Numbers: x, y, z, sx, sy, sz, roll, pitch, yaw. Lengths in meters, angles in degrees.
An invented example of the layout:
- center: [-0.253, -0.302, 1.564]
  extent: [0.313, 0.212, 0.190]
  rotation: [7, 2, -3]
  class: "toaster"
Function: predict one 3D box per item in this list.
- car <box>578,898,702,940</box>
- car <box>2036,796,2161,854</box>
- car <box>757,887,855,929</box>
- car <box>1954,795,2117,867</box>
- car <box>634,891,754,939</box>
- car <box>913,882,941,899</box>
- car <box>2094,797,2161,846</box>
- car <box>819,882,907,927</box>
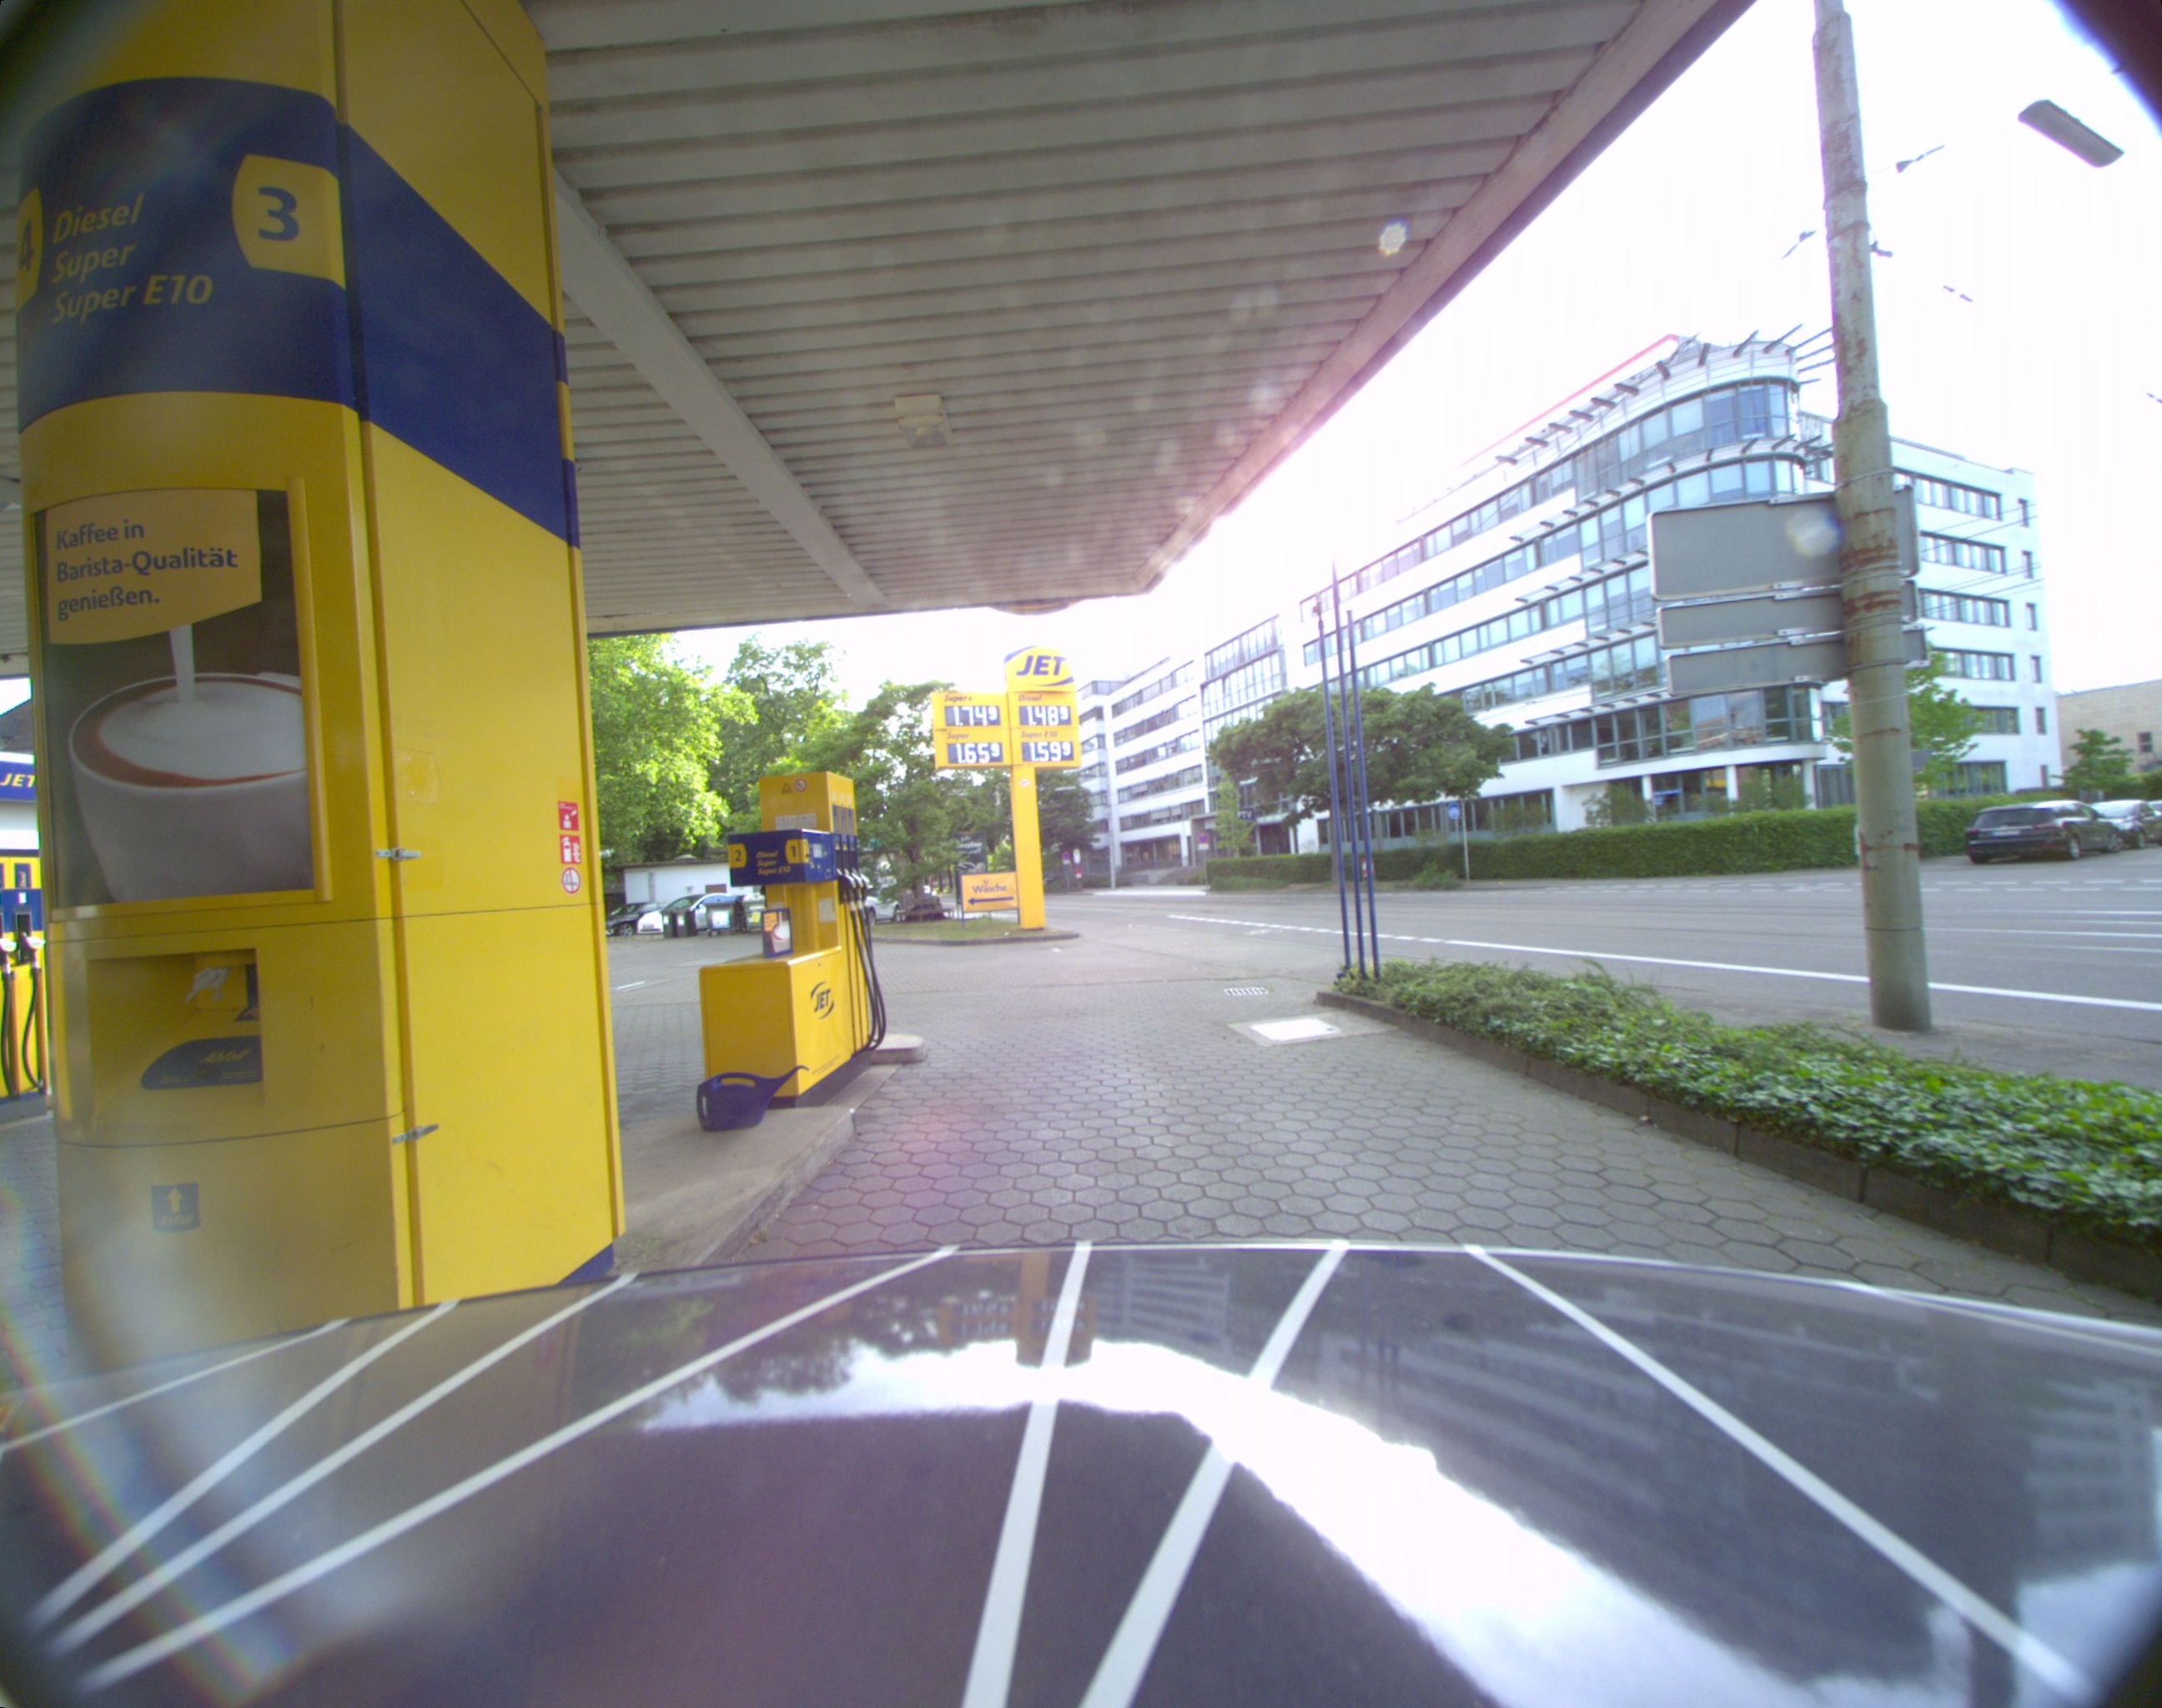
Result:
- center: [-17.794, 2.603, 30.909]
  extent: [1.771, 1.367, 4.398]
  rotation: [-2, -1, 14]
  class: "car"
- center: [32.546, -0.935, 24.098]
  extent: [4.296, 1.530, 1.945]
  rotation: [-4, -1, -27]
  class: "car"
- center: [-11.654, 2.280, 32.495]
  extent: [1.771, 1.591, 4.400]
  rotation: [-4, -4, 13]
  class: "car"
- center: [27.275, -0.658, 21.696]
  extent: [4.296, 1.681, 2.010]
  rotation: [-4, -1, -27]
  class: "car"
- center: [-15.292, 2.377, 30.316]
  extent: [1.771, 1.591, 4.398]
  rotation: [-2, -1, 14]
  class: "car"
- center: [-15.253, 3.591, 75.219]
  extent: [1.756, 1.460, 4.563]
  rotation: [-3, -1, -23]
  class: "car"
- center: [37.128, -1.191, 26.151]
  extent: [4.296, 1.509, 1.945]
  rotation: [-4, -1, -27]
  class: "car"
- center: [-8.636, 2.013, 30.504]
  extent: [1.772, 1.591, 4.398]
  rotation: [-4, -4, 6]
  class: "car"
